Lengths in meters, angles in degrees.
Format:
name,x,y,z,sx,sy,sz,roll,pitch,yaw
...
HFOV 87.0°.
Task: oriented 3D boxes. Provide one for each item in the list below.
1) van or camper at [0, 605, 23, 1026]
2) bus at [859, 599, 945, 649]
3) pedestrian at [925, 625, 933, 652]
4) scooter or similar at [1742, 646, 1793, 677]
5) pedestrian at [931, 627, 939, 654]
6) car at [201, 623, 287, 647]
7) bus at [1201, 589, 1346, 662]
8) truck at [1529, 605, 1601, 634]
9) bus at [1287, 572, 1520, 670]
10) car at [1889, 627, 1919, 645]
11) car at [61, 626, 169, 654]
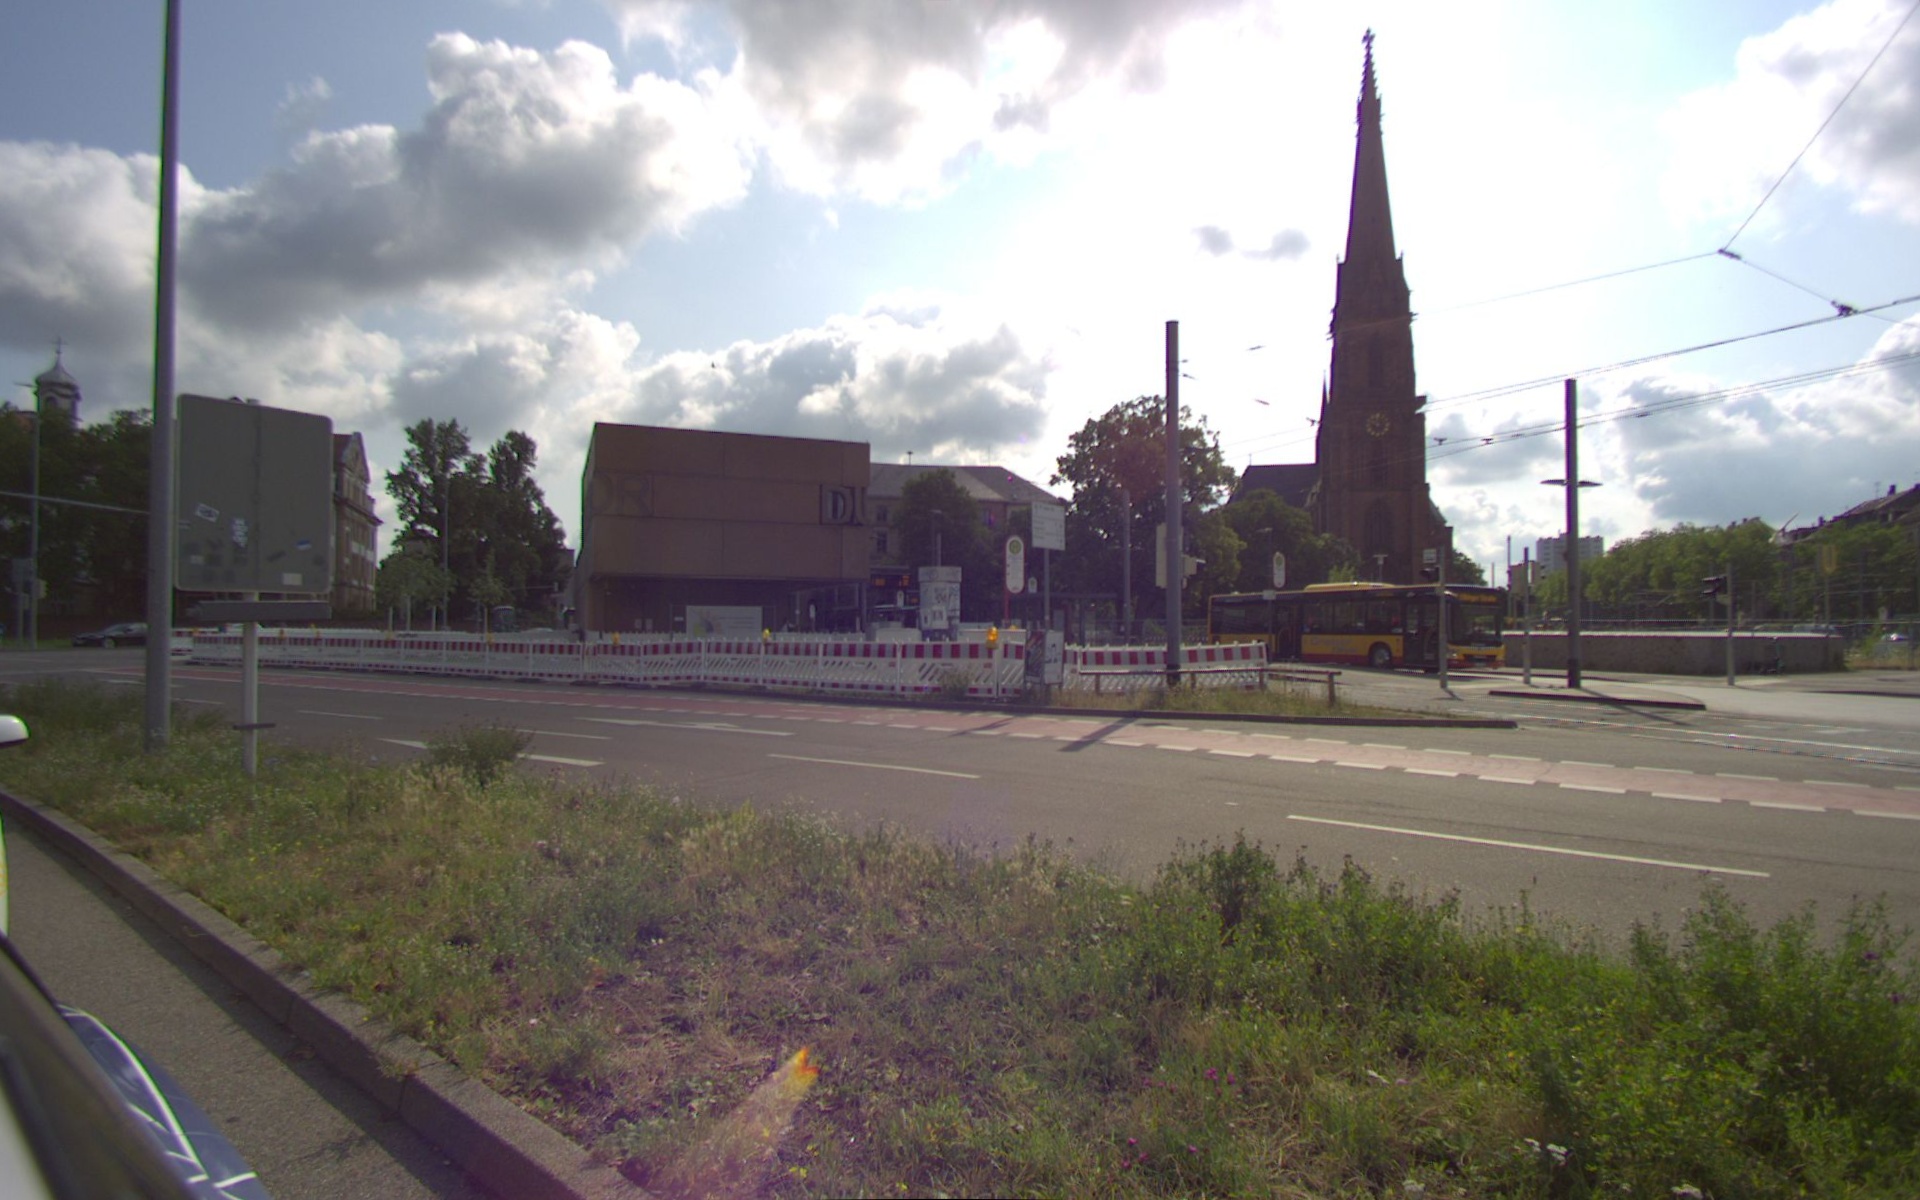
name,x,y,z,sx,sy,sz,roll,pitch,yaw
van or camper,-5.370,0.752,4.375,4.000,1.487,1.605,-1,-3,43
bus,-4.724,1.911,78.541,2.913,3.534,12.293,1,-2,-22
pedestrian,-1.870,2.357,61.762,0.352,1.614,0.365,1,-2,-28
scooter or similar,25.723,1.959,32.235,1.635,0.957,0.475,1,-2,-20
pedestrian,-1.532,2.489,61.969,0.352,1.614,0.365,1,-1,-28
car,-42.441,2.065,60.113,1.741,1.401,4.115,0,-2,11
bus,11.936,1.005,38.973,2.654,2.607,5.094,1,-2,-23
truck,76.883,2.480,128.683,7.391,3.676,2.455,-1,-2,19
bus,14.294,0.734,33.356,2.653,2.855,7.123,1,-2,-23
car,88.588,3.353,94.374,1.767,1.674,3.964,-1,-1,26
car,-43.928,2.085,52.717,1.741,1.401,4.115,0,-2,11
